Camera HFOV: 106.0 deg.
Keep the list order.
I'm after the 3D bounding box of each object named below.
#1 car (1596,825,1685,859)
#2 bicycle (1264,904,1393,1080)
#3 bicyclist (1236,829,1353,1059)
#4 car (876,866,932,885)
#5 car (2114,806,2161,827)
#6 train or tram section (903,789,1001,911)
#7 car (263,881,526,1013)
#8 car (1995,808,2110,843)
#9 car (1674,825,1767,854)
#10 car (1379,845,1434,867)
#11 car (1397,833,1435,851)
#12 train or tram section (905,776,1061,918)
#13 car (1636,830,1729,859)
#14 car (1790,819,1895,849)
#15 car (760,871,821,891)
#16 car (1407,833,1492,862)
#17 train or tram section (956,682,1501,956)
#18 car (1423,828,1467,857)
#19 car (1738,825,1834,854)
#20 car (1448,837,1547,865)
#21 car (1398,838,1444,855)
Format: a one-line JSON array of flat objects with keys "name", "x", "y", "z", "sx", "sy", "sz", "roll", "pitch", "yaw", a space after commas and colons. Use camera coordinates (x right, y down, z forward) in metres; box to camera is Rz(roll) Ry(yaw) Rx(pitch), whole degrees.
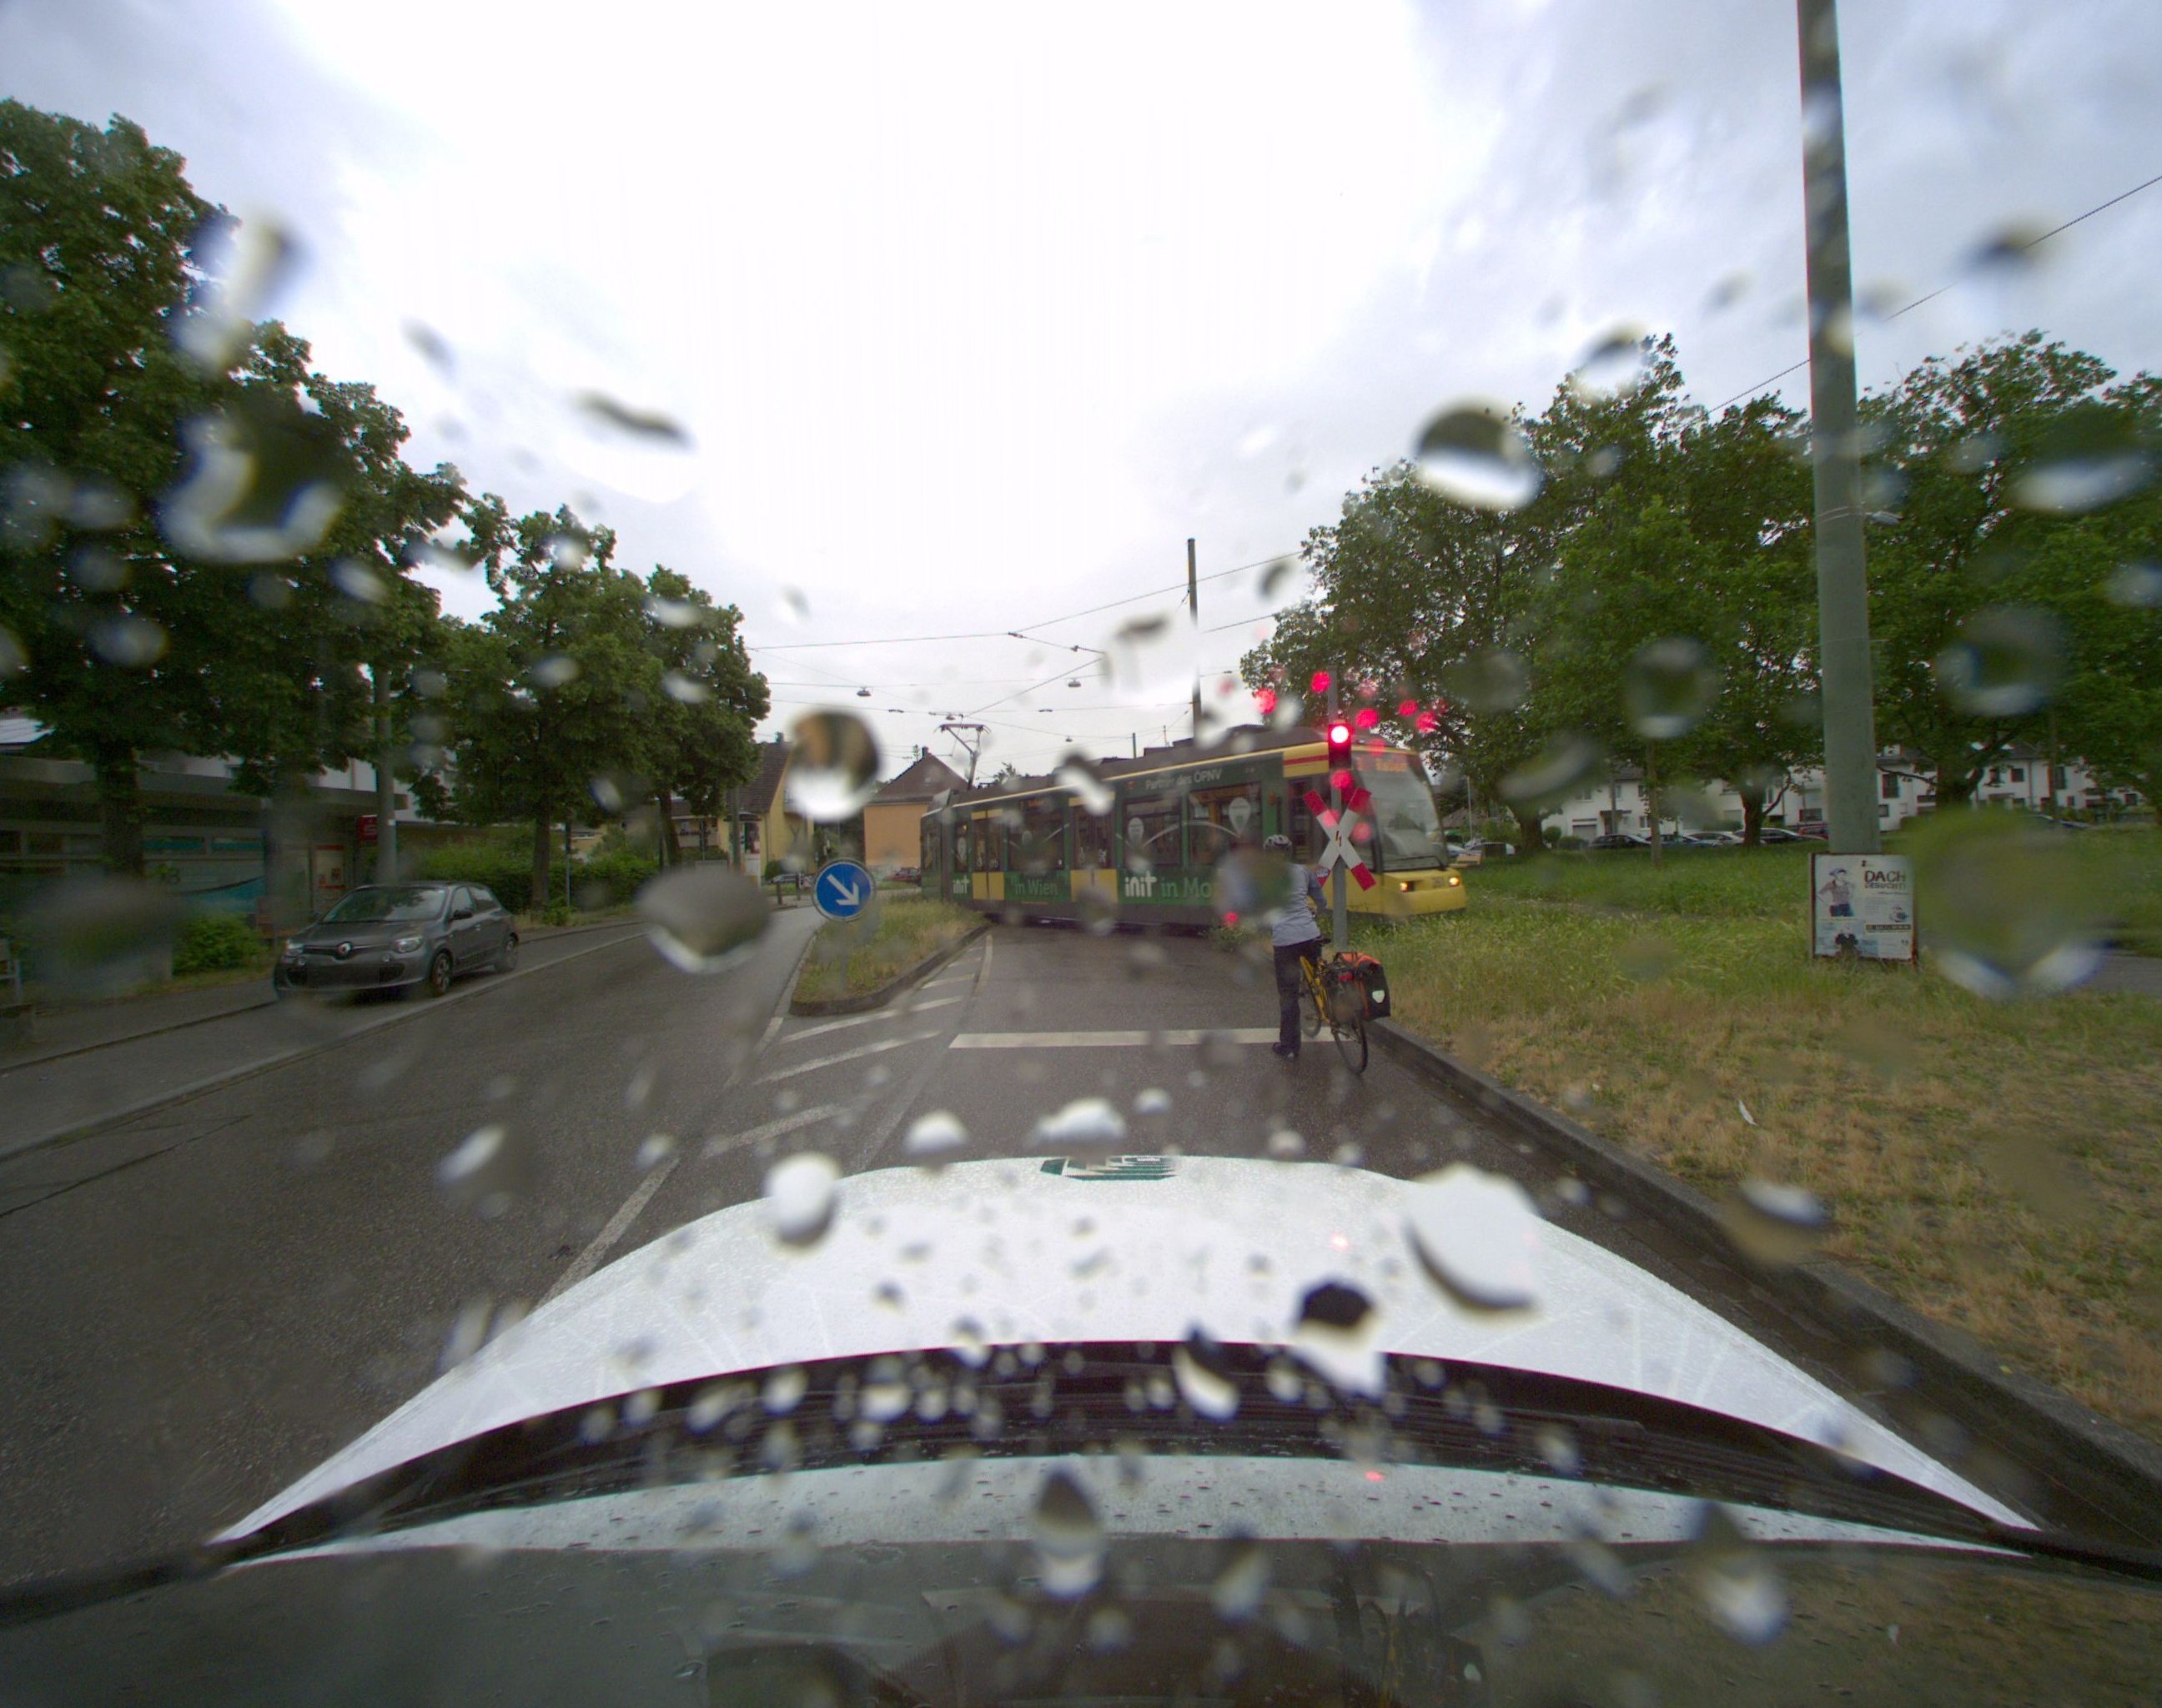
[{"name": "car", "x": 30.541, "y": -0.615, "z": 44.527, "sx": 1.821, "sy": 1.798, "sz": 3.721, "roll": 0, "pitch": -1, "yaw": -44}, {"name": "bicycle", "x": 1.795, "y": 0.947, "z": 6.132, "sx": 0.444, "sy": 1.004, "sz": 1.728, "roll": -2, "pitch": 0, "yaw": 1}, {"name": "bicyclist", "x": 1.601, "y": 0.644, "z": 6.230, "sx": 0.665, "sy": 1.626, "sz": 0.853, "roll": 0, "pitch": -1, "yaw": 0}, {"name": "car", "x": -13.662, "y": 1.647, "z": 63.065, "sx": 3.979, "sy": 1.456, "sz": 1.831, "roll": 0, "pitch": -1, "yaw": -5}, {"name": "car", "x": 89.727, "y": -3.156, "z": 68.327, "sx": 3.670, "sy": 1.660, "sz": 1.891, "roll": 0, "pitch": -1, "yaw": 2}, {"name": "train or tram section", "x": -5.079, "y": -0.078, "z": 30.781, "sx": 2.762, "sy": 3.553, "sz": 13.082, "roll": -2, "pitch": 0, "yaw": -11}, {"name": "car", "x": -9.687, "y": 1.190, "z": 11.872, "sx": 1.621, "sy": 1.496, "sz": 3.645, "roll": 0, "pitch": -1, "yaw": -18}, {"name": "car", "x": 54.634, "y": -1.576, "z": 45.854, "sx": 1.815, "sy": 1.765, "sz": 3.879, "roll": 0, "pitch": -1, "yaw": -29}, {"name": "car", "x": 35.706, "y": -0.757, "z": 45.516, "sx": 1.821, "sy": 1.495, "sz": 3.867, "roll": 0, "pitch": -1, "yaw": -44}, {"name": "car", "x": 25.894, "y": 0.204, "z": 64.948, "sx": 3.670, "sy": 1.701, "sz": 1.891, "roll": 0, "pitch": -1, "yaw": 2}, {"name": "car", "x": 39.095, "y": -1.340, "z": 95.167, "sx": 1.998, "sy": 2.014, "sz": 3.978, "roll": 0, "pitch": -1, "yaw": -16}, {"name": "train or tram section", "x": -2.929, "y": -0.172, "z": 23.099, "sx": 2.776, "sy": 3.553, "sz": 4.944, "roll": -2, "pitch": 0, "yaw": -27}, {"name": "car", "x": 33.202, "y": -0.499, "z": 44.985, "sx": 1.821, "sy": 1.495, "sz": 3.867, "roll": 0, "pitch": -1, "yaw": -44}, {"name": "car", "x": 42.627, "y": -1.090, "z": 45.677, "sx": 1.814, "sy": 1.495, "sz": 3.881, "roll": 0, "pitch": -1, "yaw": -27}, {"name": "car", "x": -22.108, "y": 2.025, "z": 62.020, "sx": 3.979, "sy": 1.456, "sz": 1.831, "roll": 0, "pitch": -1, "yaw": -5}, {"name": "car", "x": 20.259, "y": -0.327, "z": 44.895, "sx": 1.821, "sy": 1.495, "sz": 3.867, "roll": 0, "pitch": -1, "yaw": -44}, {"name": "train or tram section", "x": 1.583, "y": -0.352, "z": 16.288, "sx": 2.782, "sy": 3.553, "sz": 12.069, "roll": -2, "pitch": 0, "yaw": -36}, {"name": "car", "x": 32.574, "y": -0.975, "z": 72.988, "sx": 1.987, "sy": 2.443, "sz": 4.354, "roll": 0, "pitch": -1, "yaw": 1}, {"name": "car", "x": 39.264, "y": -0.783, "z": 45.403, "sx": 1.821, "sy": 1.495, "sz": 3.867, "roll": 0, "pitch": -1, "yaw": -44}, {"name": "car", "x": 20.504, "y": -0.135, "z": 40.242, "sx": 3.964, "sy": 1.285, "sz": 1.851, "roll": 0, "pitch": -1, "yaw": 9}, {"name": "car", "x": 35.423, "y": -0.783, "z": 84.941, "sx": 3.971, "sy": 1.640, "sz": 1.847, "roll": 0, "pitch": -1, "yaw": 2}]
